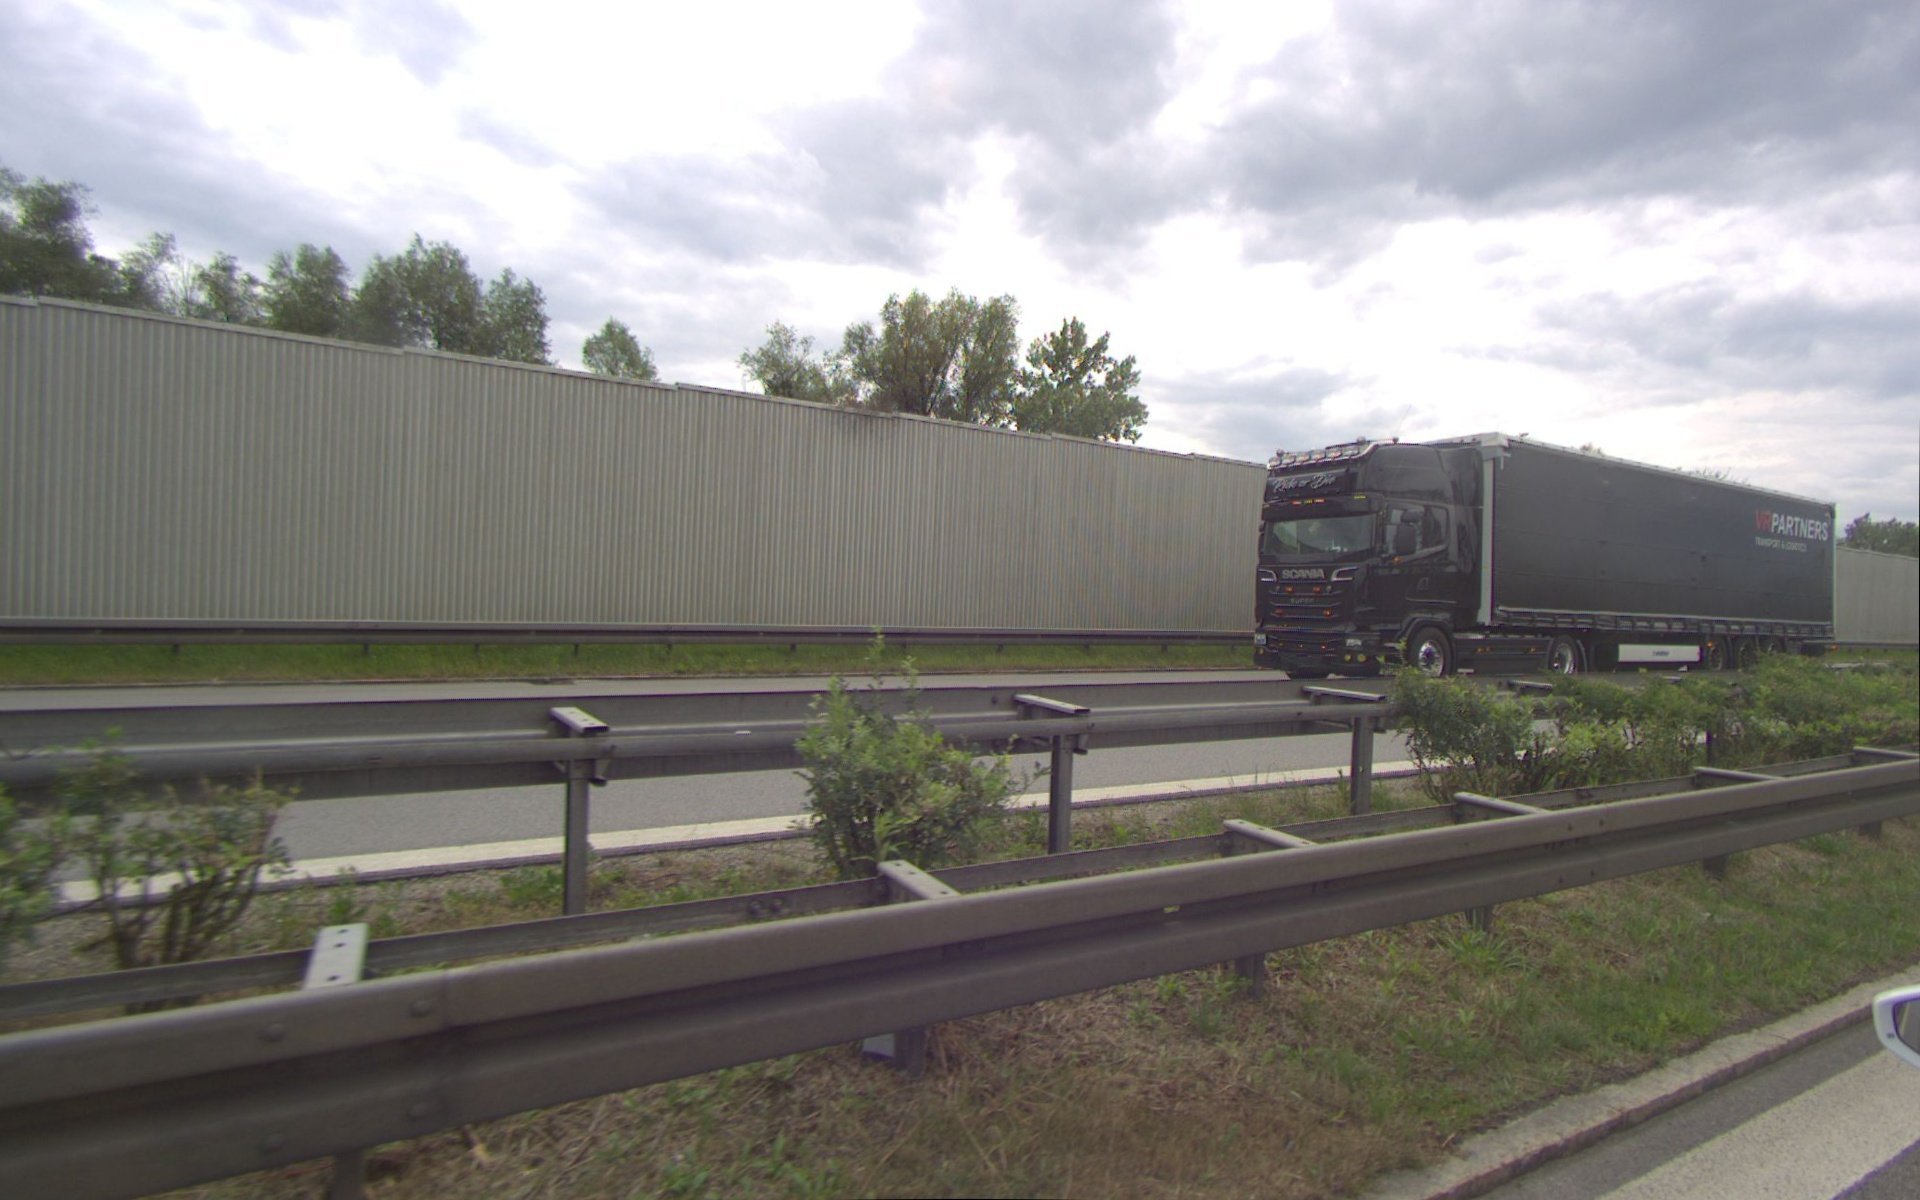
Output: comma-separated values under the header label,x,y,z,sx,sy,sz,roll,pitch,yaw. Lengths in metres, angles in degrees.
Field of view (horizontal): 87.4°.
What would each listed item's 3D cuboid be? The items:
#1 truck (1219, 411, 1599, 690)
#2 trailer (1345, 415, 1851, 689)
label,x,y,z,sx,sy,sz,roll,pitch,yaw
truck,7.590,-0.626,16.847,6.005,3.910,2.859,2,0,-31
trailer,13.750,-0.589,20.679,14.020,4.296,2.965,2,0,-32
